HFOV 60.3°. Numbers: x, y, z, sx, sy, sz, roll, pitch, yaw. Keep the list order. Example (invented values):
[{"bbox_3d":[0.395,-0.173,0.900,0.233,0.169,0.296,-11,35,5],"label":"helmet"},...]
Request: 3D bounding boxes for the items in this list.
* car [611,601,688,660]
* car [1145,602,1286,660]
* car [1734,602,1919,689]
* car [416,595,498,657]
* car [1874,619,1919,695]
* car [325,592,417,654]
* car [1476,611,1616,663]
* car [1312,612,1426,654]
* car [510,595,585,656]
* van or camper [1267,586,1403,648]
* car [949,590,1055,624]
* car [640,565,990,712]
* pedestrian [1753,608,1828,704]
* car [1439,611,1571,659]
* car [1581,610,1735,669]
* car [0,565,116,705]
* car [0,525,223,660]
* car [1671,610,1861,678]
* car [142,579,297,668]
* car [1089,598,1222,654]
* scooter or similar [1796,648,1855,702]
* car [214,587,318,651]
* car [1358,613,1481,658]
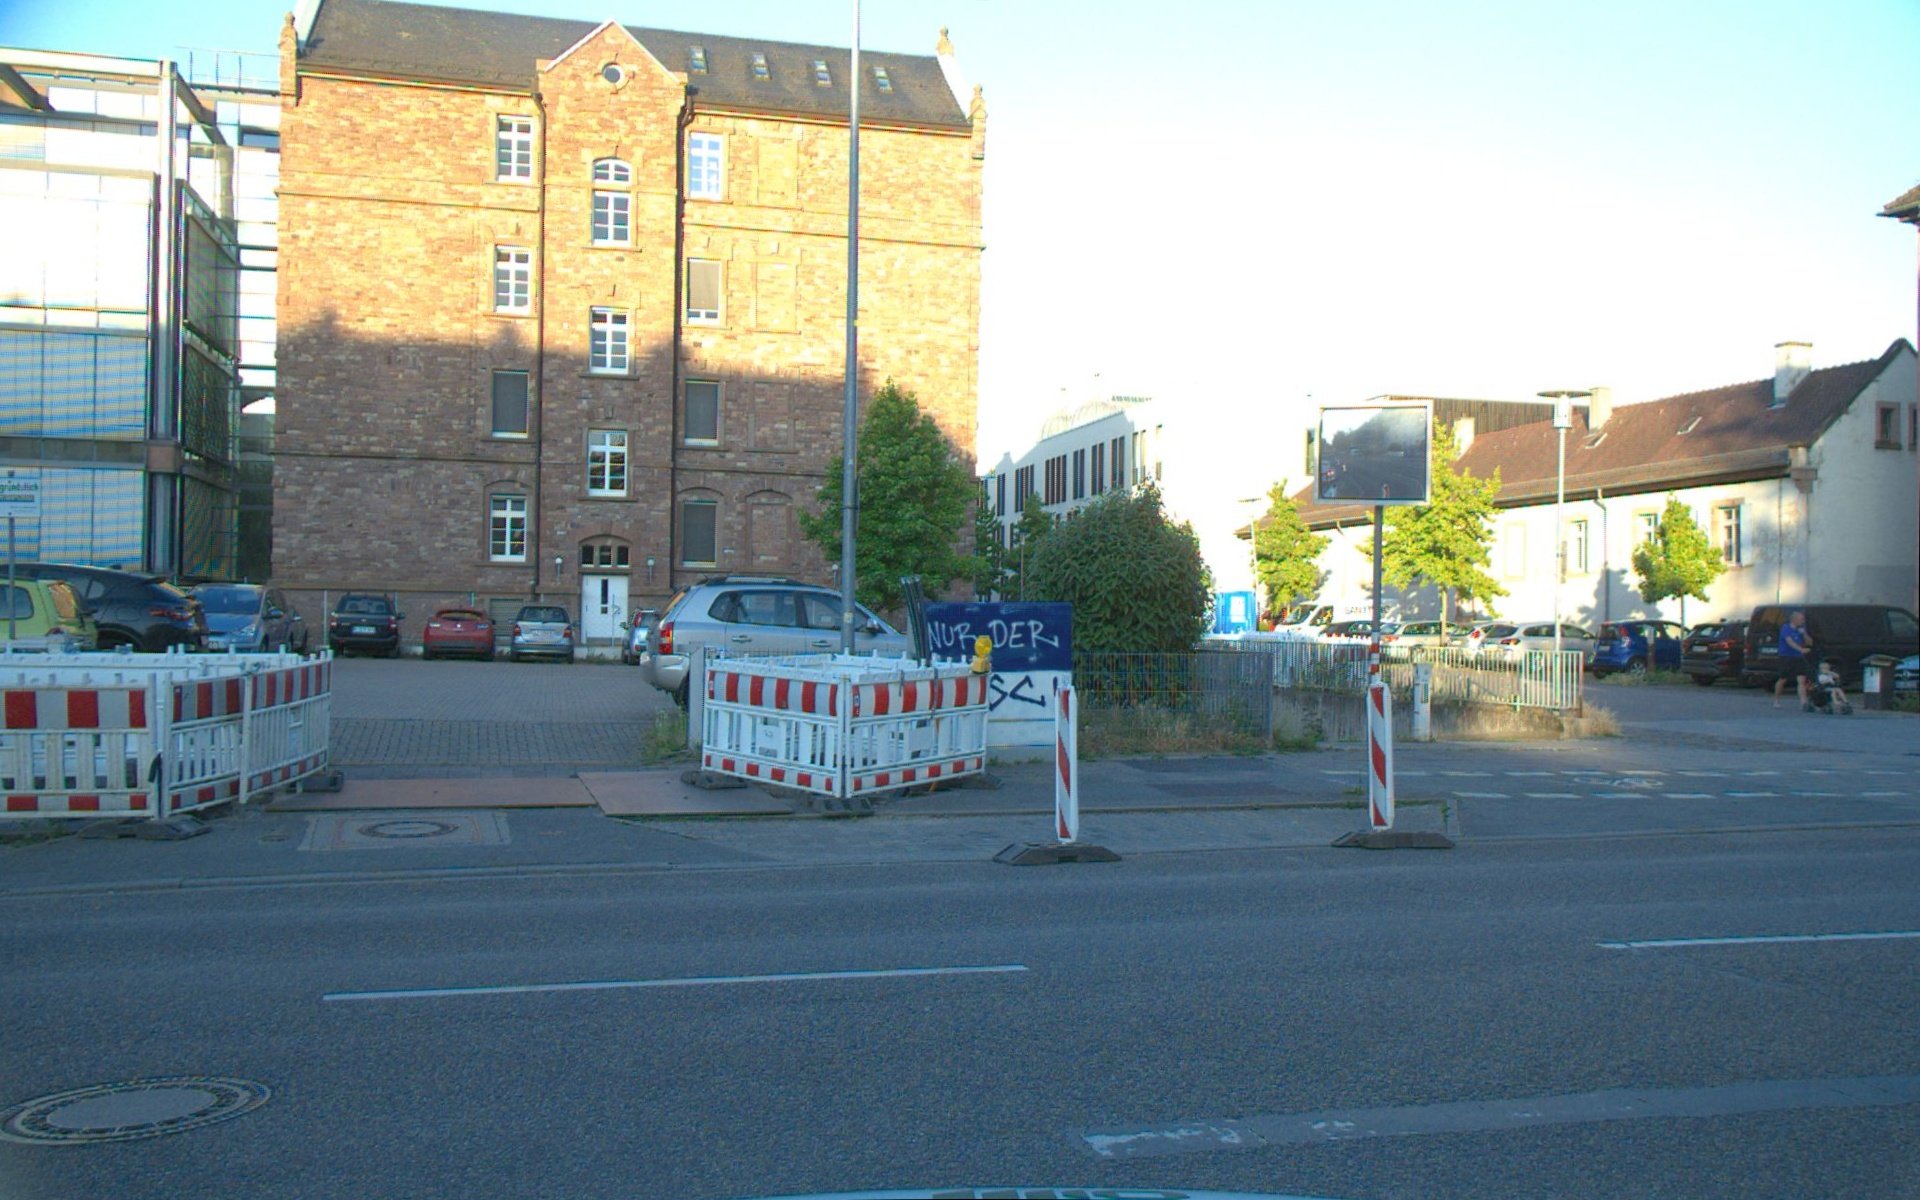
[{"bbox_3d":[-8.640,0.815,45.790,1.864,1.564,4.164,1,0,-14],"label":"car"},{"bbox_3d":[7.375,0.896,47.718,3.682,1.631,1.678,1,-1,-18],"label":"car"},{"bbox_3d":[19.933,1.031,37.660,3.925,1.891,1.990,1,-1,-18],"label":"car"},{"bbox_3d":[-13.451,0.673,44.405,1.864,1.564,4.164,1,0,-14],"label":"car"},{"bbox_3d":[20.613,1.141,33.064,3.925,1.485,1.990,1,-1,-18],"label":"car"},{"bbox_3d":[-15.699,0.591,44.259,1.864,1.564,4.164,1,0,-14],"label":"car"},{"bbox_3d":[17.404,1.101,49.152,3.682,1.471,1.678,1,-1,-18],"label":"car"},{"bbox_3d":[14.706,1.186,59.475,3.682,1.471,1.678,1,-1,-18],"label":"car"},{"bbox_3d":[-11.205,0.663,44.980,1.864,1.564,4.164,1,0,-14],"label":"car"},{"bbox_3d":[14.249,0.653,62.880,4.885,2.280,1.678,1,-1,-18],"label":"van or camper"},{"bbox_3d":[1.681,0.281,66.832,3.921,1.336,1.869,0,0,-16],"label":"car"},{"bbox_3d":[-1.868,0.476,20.996,4.199,1.738,1.695,0,0,-16],"label":"car"},{"bbox_3d":[14.806,0.990,29.502,0.737,1.671,1.011,1,-1,-13],"label":"pedestrian"},{"bbox_3d":[17.047,1.095,51.760,3.682,1.471,1.678,1,-1,-18],"label":"car"},{"bbox_3d":[18.822,1.061,44.619,3.682,1.556,1.678,1,-1,-18],"label":"car"},{"bbox_3d":[-11.705,0.382,18.655,3.569,1.530,1.632,0,0,-13],"label":"car"},{"bbox_3d":[-11.996,-0.091,21.065,4.504,1.666,1.570,0,0,-13],"label":"car"},{"bbox_3d":[19.664,1.061,40.400,3.925,1.600,1.990,1,-1,-18],"label":"car"},{"bbox_3d":[-14.228,0.435,32.020,1.960,1.604,4.348,1,0,-14],"label":"car"},{"bbox_3d":[5.940,0.799,50.430,3.682,1.631,1.678,1,-1,-18],"label":"car"},{"bbox_3d":[14.915,1.288,28.515,0.505,0.906,0.803,1,-1,-14],"label":"scooter or similar"},{"bbox_3d":[-18.150,0.481,43.414,1.864,1.564,4.164,1,0,-14],"label":"car"},{"bbox_3d":[15.397,1.187,55.475,3.682,1.471,1.678,1,-1,-18],"label":"car"}]
